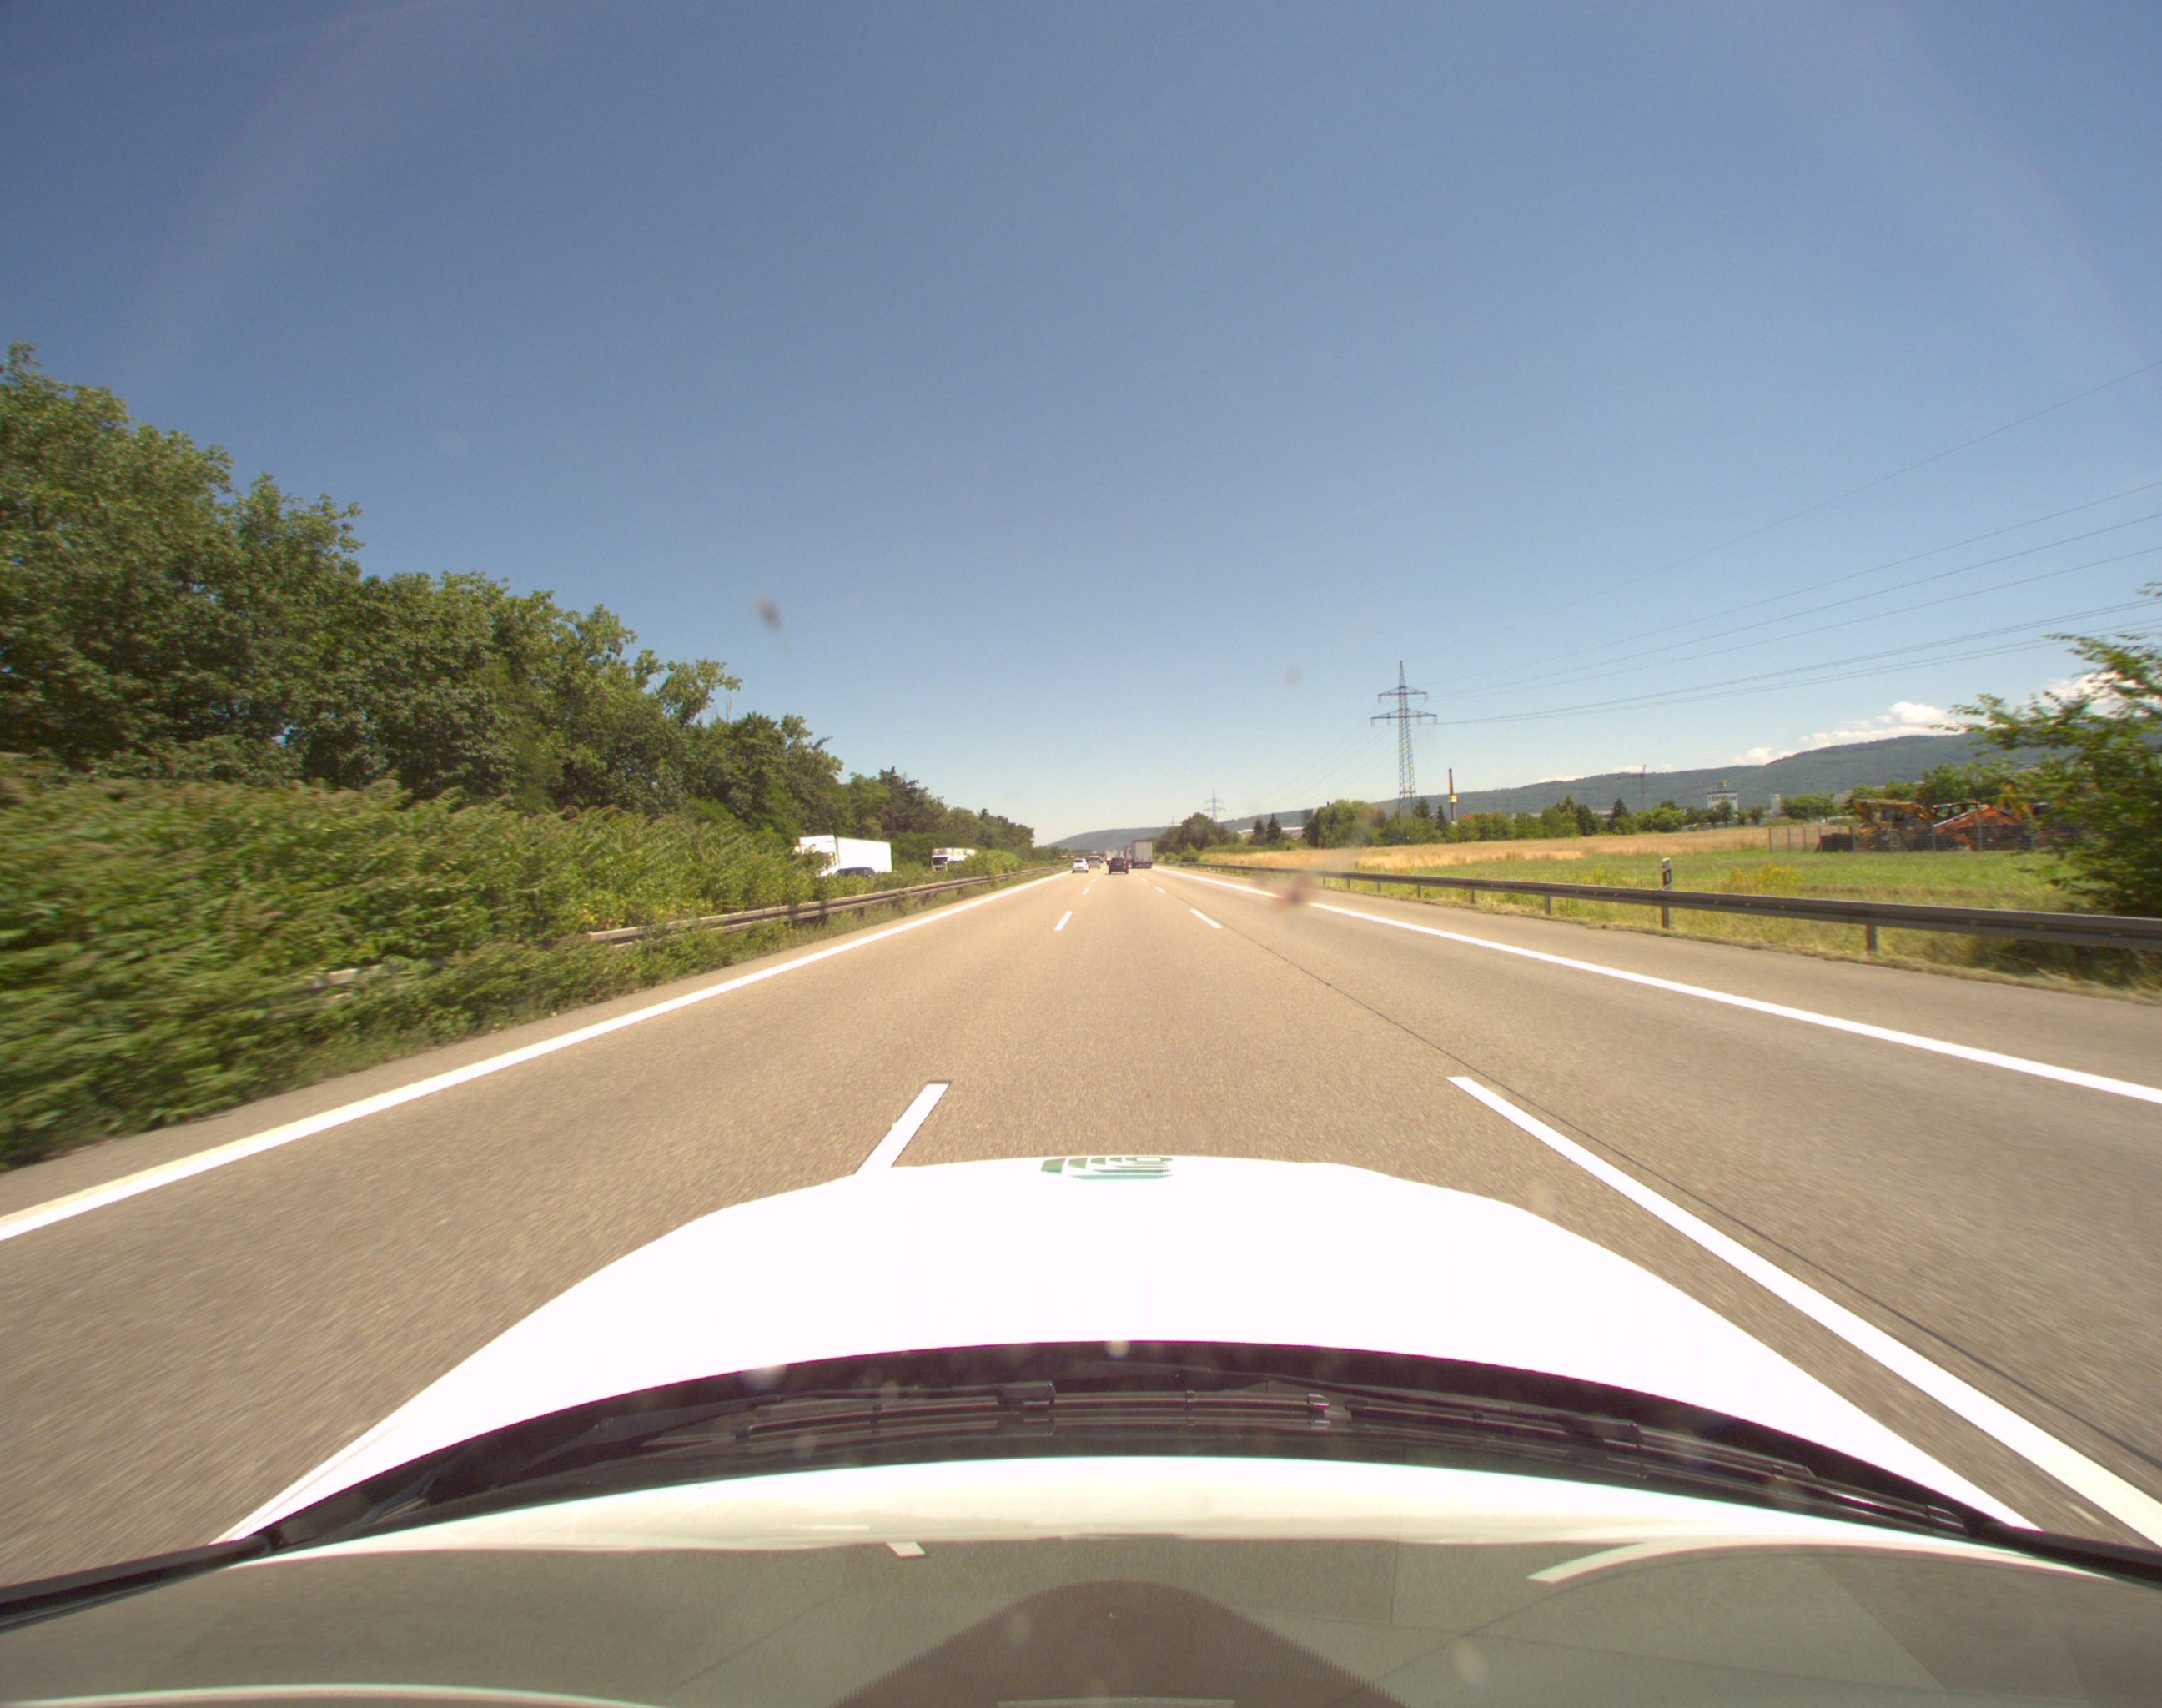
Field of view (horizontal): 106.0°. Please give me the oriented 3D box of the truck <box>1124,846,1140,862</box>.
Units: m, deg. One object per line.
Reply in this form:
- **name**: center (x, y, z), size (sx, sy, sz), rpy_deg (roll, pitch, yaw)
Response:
- **truck**: center (11.128, -0.028, 180.017), size (3.086, 3.474, 11.546), rpy_deg (0, 0, 2)

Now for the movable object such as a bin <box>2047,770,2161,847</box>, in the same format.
- **movable object such as a bin**: center (56.003, -2.463, 42.970), size (6.312, 3.732, 2.500), rpy_deg (-4, -1, 7)

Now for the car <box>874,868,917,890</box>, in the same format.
- **car**: center (-12.788, 1.688, 56.358), size (1.779, 1.402, 4.330), rpy_deg (0, 0, 2)

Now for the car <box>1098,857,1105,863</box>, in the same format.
- **car**: center (5.795, 1.821, 232.446), size (1.845, 1.633, 4.002), rpy_deg (0, 0, 2)

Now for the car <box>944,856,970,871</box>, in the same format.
- **car**: center (-12.663, 0.949, 83.441), size (1.779, 1.402, 4.330), rpy_deg (0, 0, 2)

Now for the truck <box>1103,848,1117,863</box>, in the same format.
- **truck**: center (6.717, 0.360, 188.121), size (3.086, 3.474, 11.546), rpy_deg (0, 0, 2)

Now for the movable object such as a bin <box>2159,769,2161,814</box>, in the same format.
- **movable object such as a bin**: center (57.305, -2.567, 38.118), size (8.138, 3.732, 3.345), rpy_deg (-4, -1, 9)

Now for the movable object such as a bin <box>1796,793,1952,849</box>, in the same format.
- **movable object such as a bin**: center (56.235, -2.275, 57.939), size (7.505, 3.402, 3.057), rpy_deg (-4, -1, 7)

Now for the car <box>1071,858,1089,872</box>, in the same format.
- **car**: center (-0.129, 1.205, 88.812), size (1.799, 1.468, 4.002), rpy_deg (0, 0, 2)

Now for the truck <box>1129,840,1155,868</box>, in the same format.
- **truck**: center (8.771, -0.046, 118.688), size (3.253, 3.857, 11.635), rpy_deg (0, 0, 2)

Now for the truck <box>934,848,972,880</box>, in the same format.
- **truck**: center (-16.299, 1.209, 104.447), size (2.686, 3.857, 11.451), rpy_deg (0, 0, 2)

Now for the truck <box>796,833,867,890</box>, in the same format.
- **truck**: center (-17.886, 0.484, 58.896), size (2.655, 3.857, 7.334), rpy_deg (0, 0, 1)

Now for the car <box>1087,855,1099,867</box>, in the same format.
- **car**: center (1.828, 1.051, 122.679), size (1.845, 1.633, 4.002), rpy_deg (0, 0, 2)

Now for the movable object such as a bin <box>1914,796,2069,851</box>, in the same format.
- **movable object such as a bin**: center (55.901, -1.849, 50.137), size (6.312, 2.880, 2.278), rpy_deg (-4, -1, 7)

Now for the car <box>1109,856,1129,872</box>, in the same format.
- **car**: center (3.632, 0.952, 78.385), size (1.877, 1.515, 4.002), rpy_deg (0, 0, 2)

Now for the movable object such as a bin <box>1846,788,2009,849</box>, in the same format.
- **movable object such as a bin**: center (55.181, -2.252, 53.224), size (7.505, 3.402, 2.278), rpy_deg (-4, -1, 7)

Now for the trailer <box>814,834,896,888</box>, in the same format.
- **trailer**: center (-17.715, 0.479, 65.033), size (2.654, 3.857, 12.757), rpy_deg (0, 0, 2)

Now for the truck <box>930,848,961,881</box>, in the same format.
- **truck**: center (-16.449, 1.214, 99.116), size (2.686, 3.857, 5.775), rpy_deg (0, 0, 1)
